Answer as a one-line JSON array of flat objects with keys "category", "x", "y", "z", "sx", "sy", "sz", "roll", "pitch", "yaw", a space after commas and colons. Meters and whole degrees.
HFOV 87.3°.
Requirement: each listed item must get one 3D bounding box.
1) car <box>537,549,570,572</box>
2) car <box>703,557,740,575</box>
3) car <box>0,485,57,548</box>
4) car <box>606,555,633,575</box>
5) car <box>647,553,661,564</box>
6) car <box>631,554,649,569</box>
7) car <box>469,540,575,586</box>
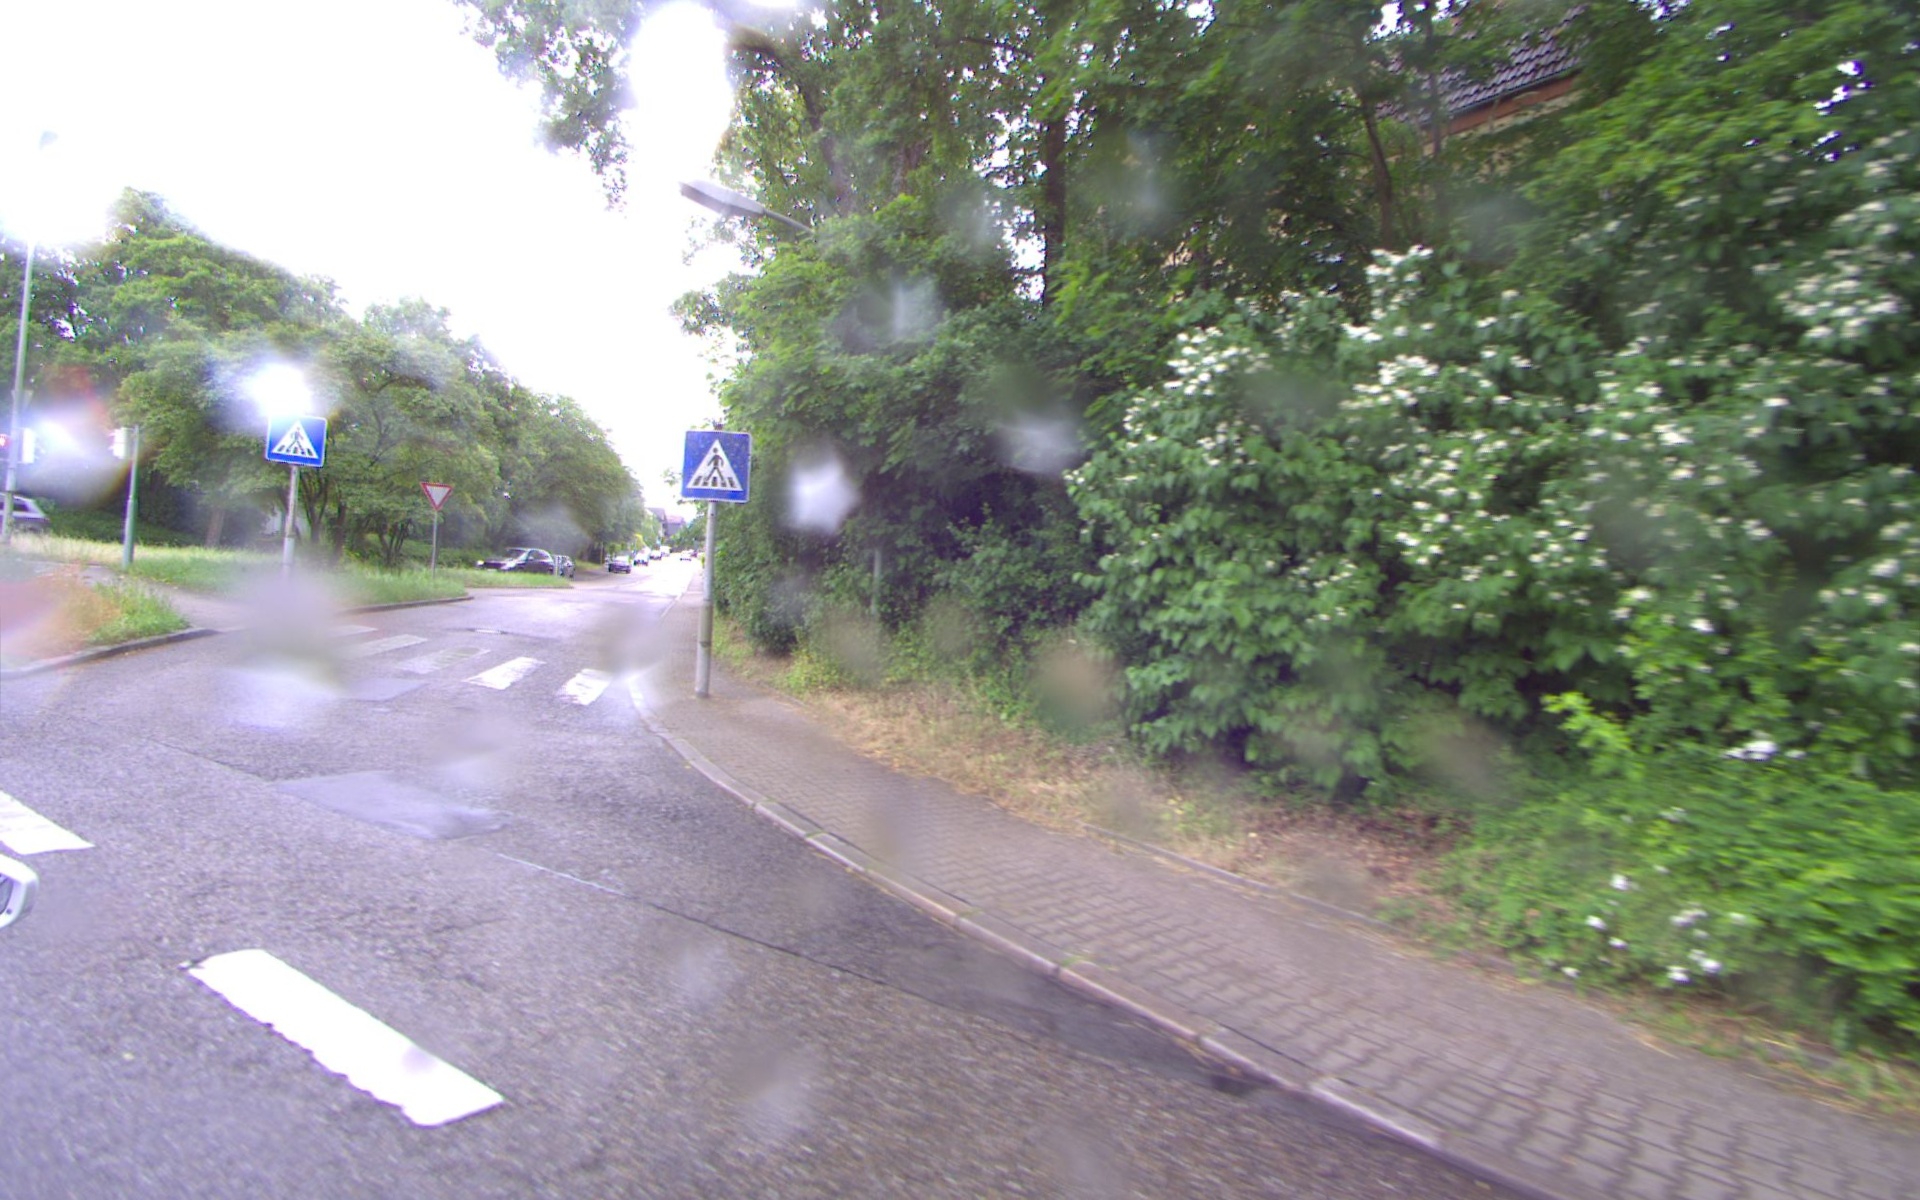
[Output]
[{"category": "car", "x": -27.790, "y": -2.689, "z": 68.866, "sx": 1.651, "sy": 1.387, "sz": 3.477, "roll": 6, "pitch": 0, "yaw": -17}, {"category": "car", "x": -27.764, "y": -3.955, "z": 117.231, "sx": 3.940, "sy": 1.594, "sz": 1.766, "roll": 5, "pitch": 1, "yaw": -18}, {"category": "car", "x": -27.801, "y": -2.488, "z": 27.659, "sx": 1.716, "sy": 1.622, "sz": 4.028, "roll": 7, "pitch": 1, "yaw": 22}, {"category": "car", "x": -32.074, "y": -3.286, "z": 94.865, "sx": 1.874, "sy": 1.467, "sz": 4.285, "roll": 7, "pitch": -2, "yaw": -13}, {"category": "car", "x": -48.831, "y": -6.598, "z": 160.621, "sx": 1.877, "sy": 1.413, "sz": 4.151, "roll": 7, "pitch": -2, "yaw": -20}, {"category": "car", "x": -39.711, "y": -4.707, "z": 124.769, "sx": 1.968, "sy": 1.463, "sz": 4.278, "roll": 7, "pitch": -2, "yaw": -19}, {"category": "car", "x": -21.539, "y": -1.791, "z": 49.697, "sx": 1.963, "sy": 1.738, "sz": 4.715, "roll": 7, "pitch": 0, "yaw": 21}]
